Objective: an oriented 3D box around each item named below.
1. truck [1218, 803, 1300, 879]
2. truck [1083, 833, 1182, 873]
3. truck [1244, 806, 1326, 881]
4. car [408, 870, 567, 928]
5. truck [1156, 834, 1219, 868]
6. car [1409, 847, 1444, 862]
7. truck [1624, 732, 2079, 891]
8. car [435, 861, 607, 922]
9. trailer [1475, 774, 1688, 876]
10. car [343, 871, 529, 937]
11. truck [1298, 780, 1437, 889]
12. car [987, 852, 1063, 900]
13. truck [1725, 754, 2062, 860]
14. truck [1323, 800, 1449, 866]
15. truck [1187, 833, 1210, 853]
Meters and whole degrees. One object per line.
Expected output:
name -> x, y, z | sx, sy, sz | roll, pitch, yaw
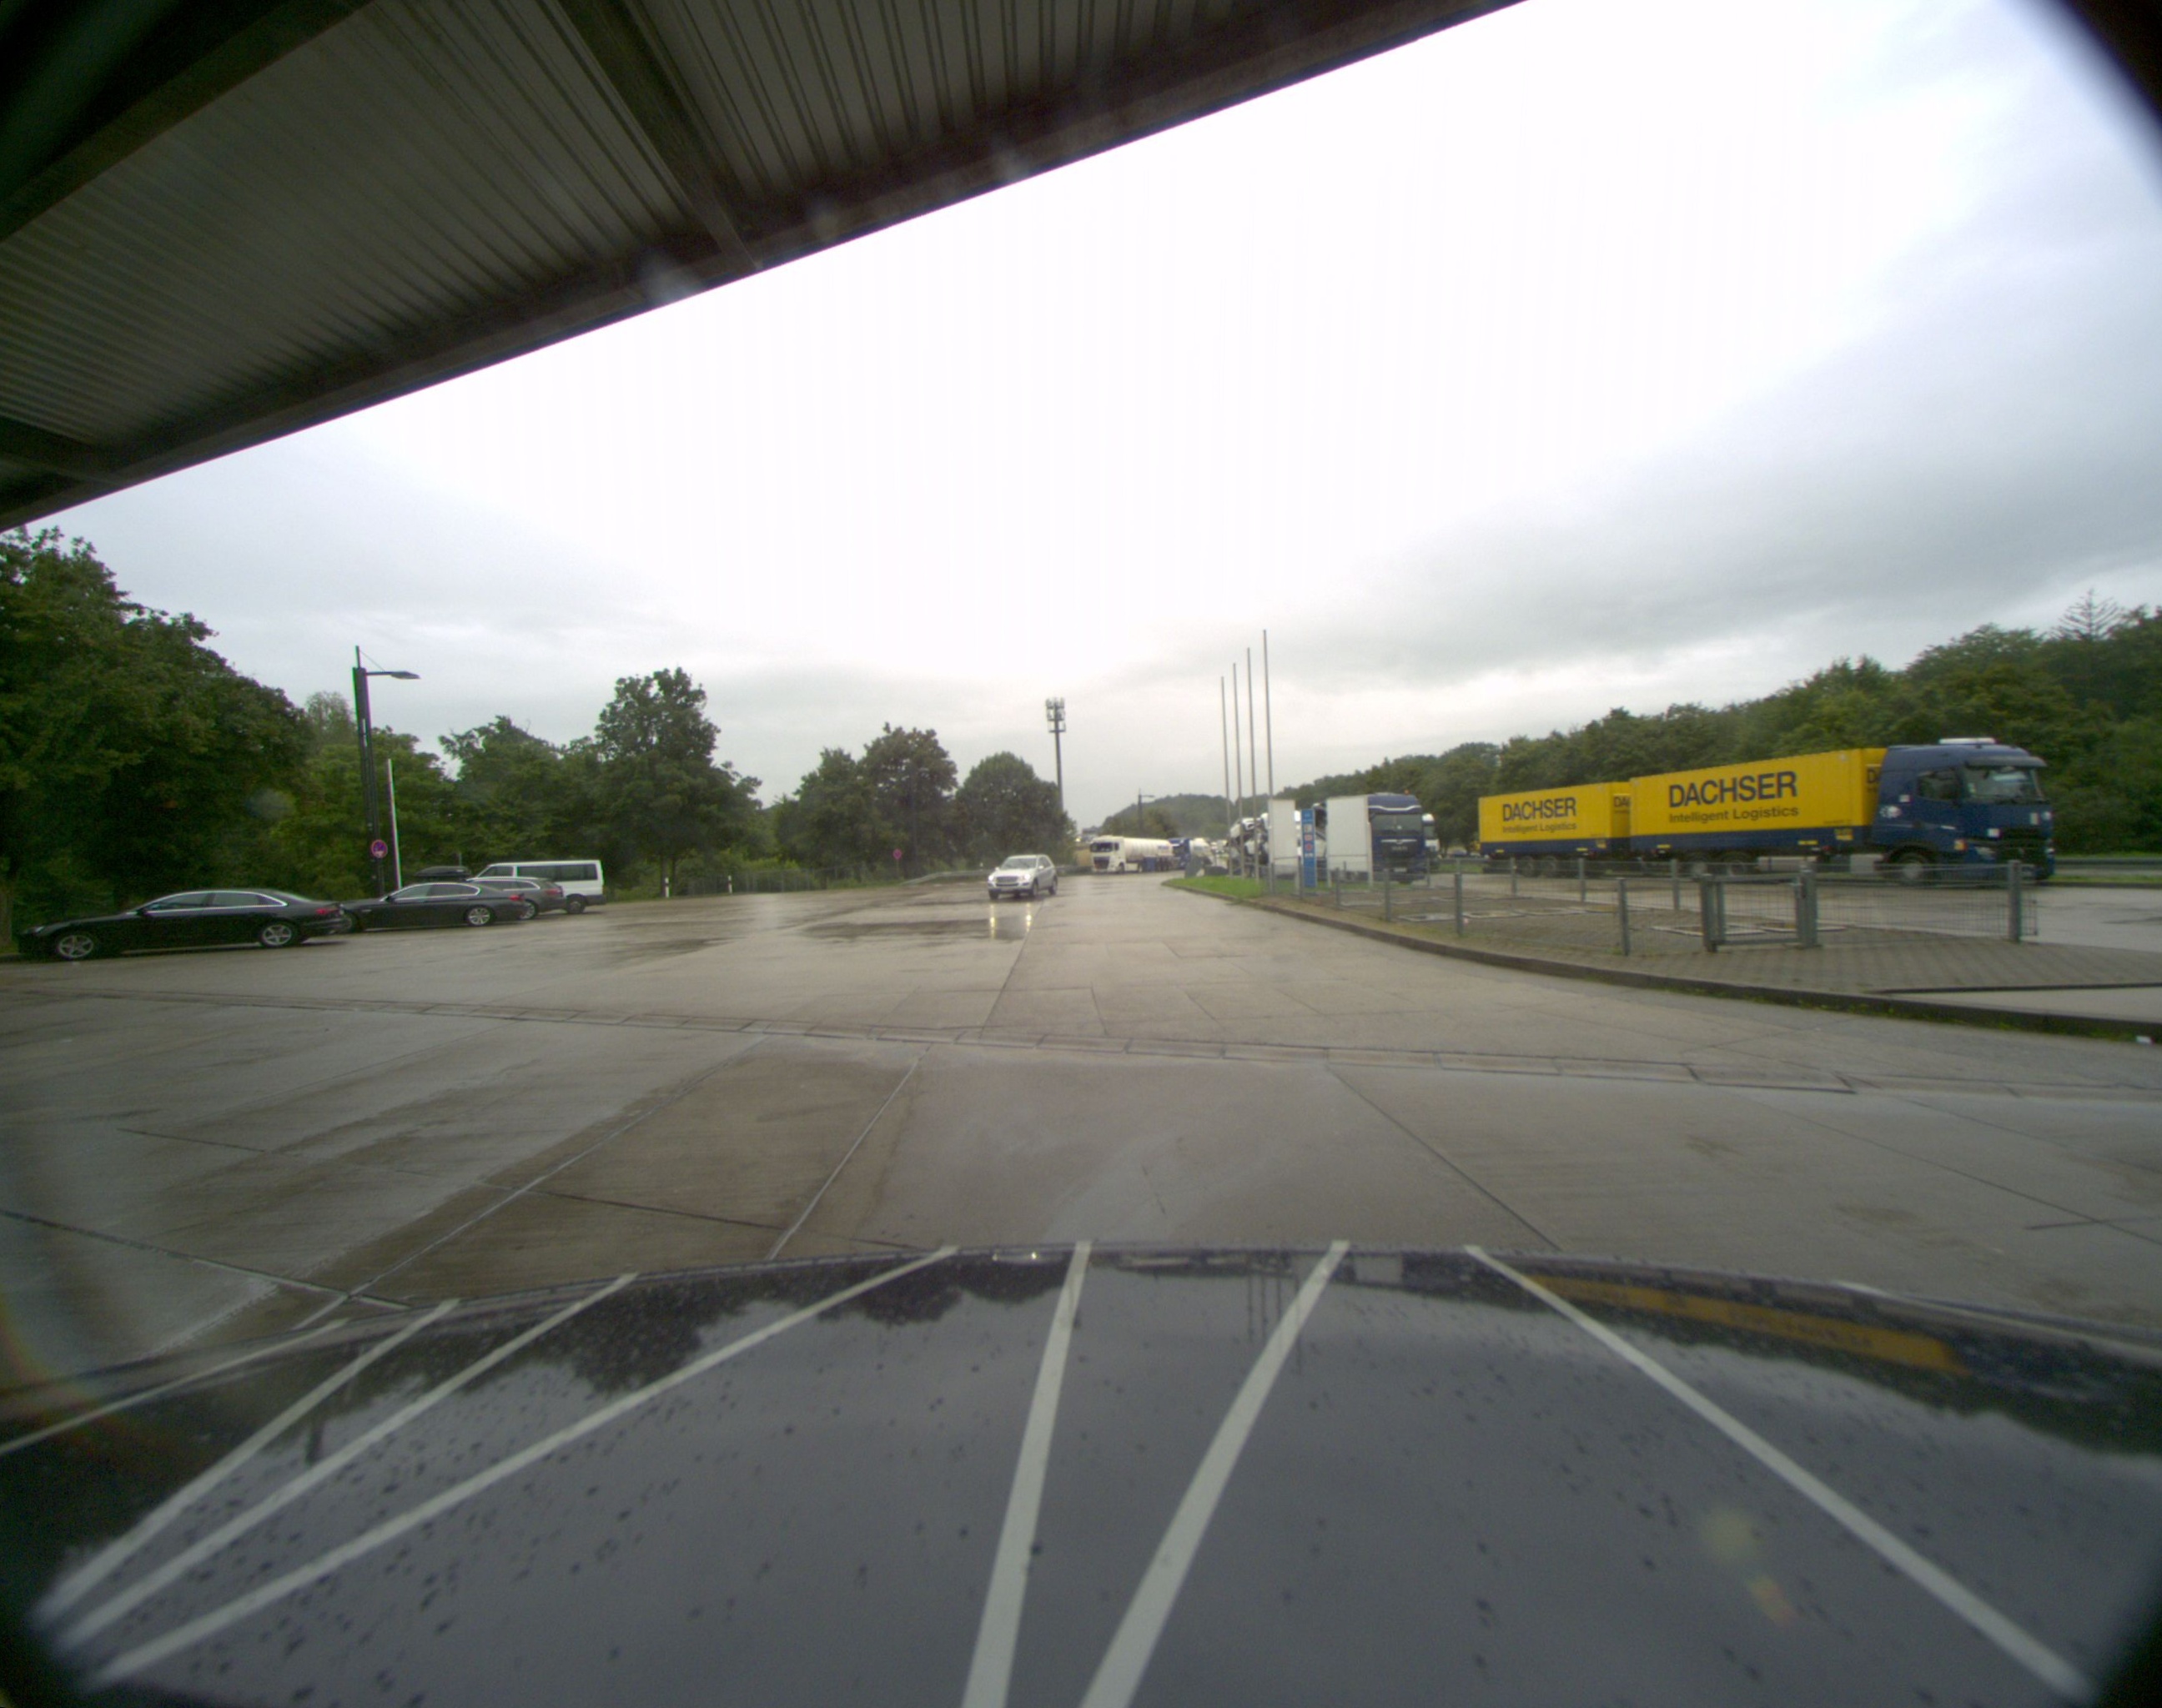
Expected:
truck -> 10.570, -0.719, 45.773 | 2.665, 4.157, 6.618 | -2, 1, -6
truck -> 5.453, -0.153, 75.203 | 3.505, 3.584, 14.426 | -2, 0, 31
truck -> 11.046, -0.551, 41.582 | 2.665, 3.750, 4.747 | -2, 1, -6
car -> -19.473, 1.429, 25.154 | 4.007, 1.650, 1.596 | -2, 0, -35
truck -> 12.781, -0.393, 89.684 | 3.506, 3.584, 14.686 | -2, 0, 23
car -> 44.549, 0.050, 97.978 | 1.891, 1.748, 3.994 | -2, 1, -16
truck -> 23.153, -1.120, 24.321 | 2.757, 3.894, 10.678 | -2, 1, -8
car -> -20.428, 1.290, 27.990 | 4.898, 1.938, 2.310 | -2, 0, -35
trailer -> 21.791, -1.176, 33.942 | 2.757, 3.894, 8.700 | -2, 1, -9
car -> -18.877, 1.396, 22.502 | 4.007, 1.650, 1.596 | -2, 0, -35
truck -> 12.183, -0.790, 33.175 | 2.665, 4.157, 7.103 | -2, 0, -6
car -> -2.238, 0.867, 31.774 | 1.864, 1.788, 4.544 | -2, 0, 13
truck -> 33.910, -1.751, 32.707 | 2.421, 3.785, 10.223 | -2, 1, -10
truck -> 19.882, -1.290, 50.563 | 2.757, 3.894, 10.678 | -2, 1, -8
truck -> 31.111, -2.925, 201.212 | 3.145, 5.092, 11.515 | -2, 1, -5
